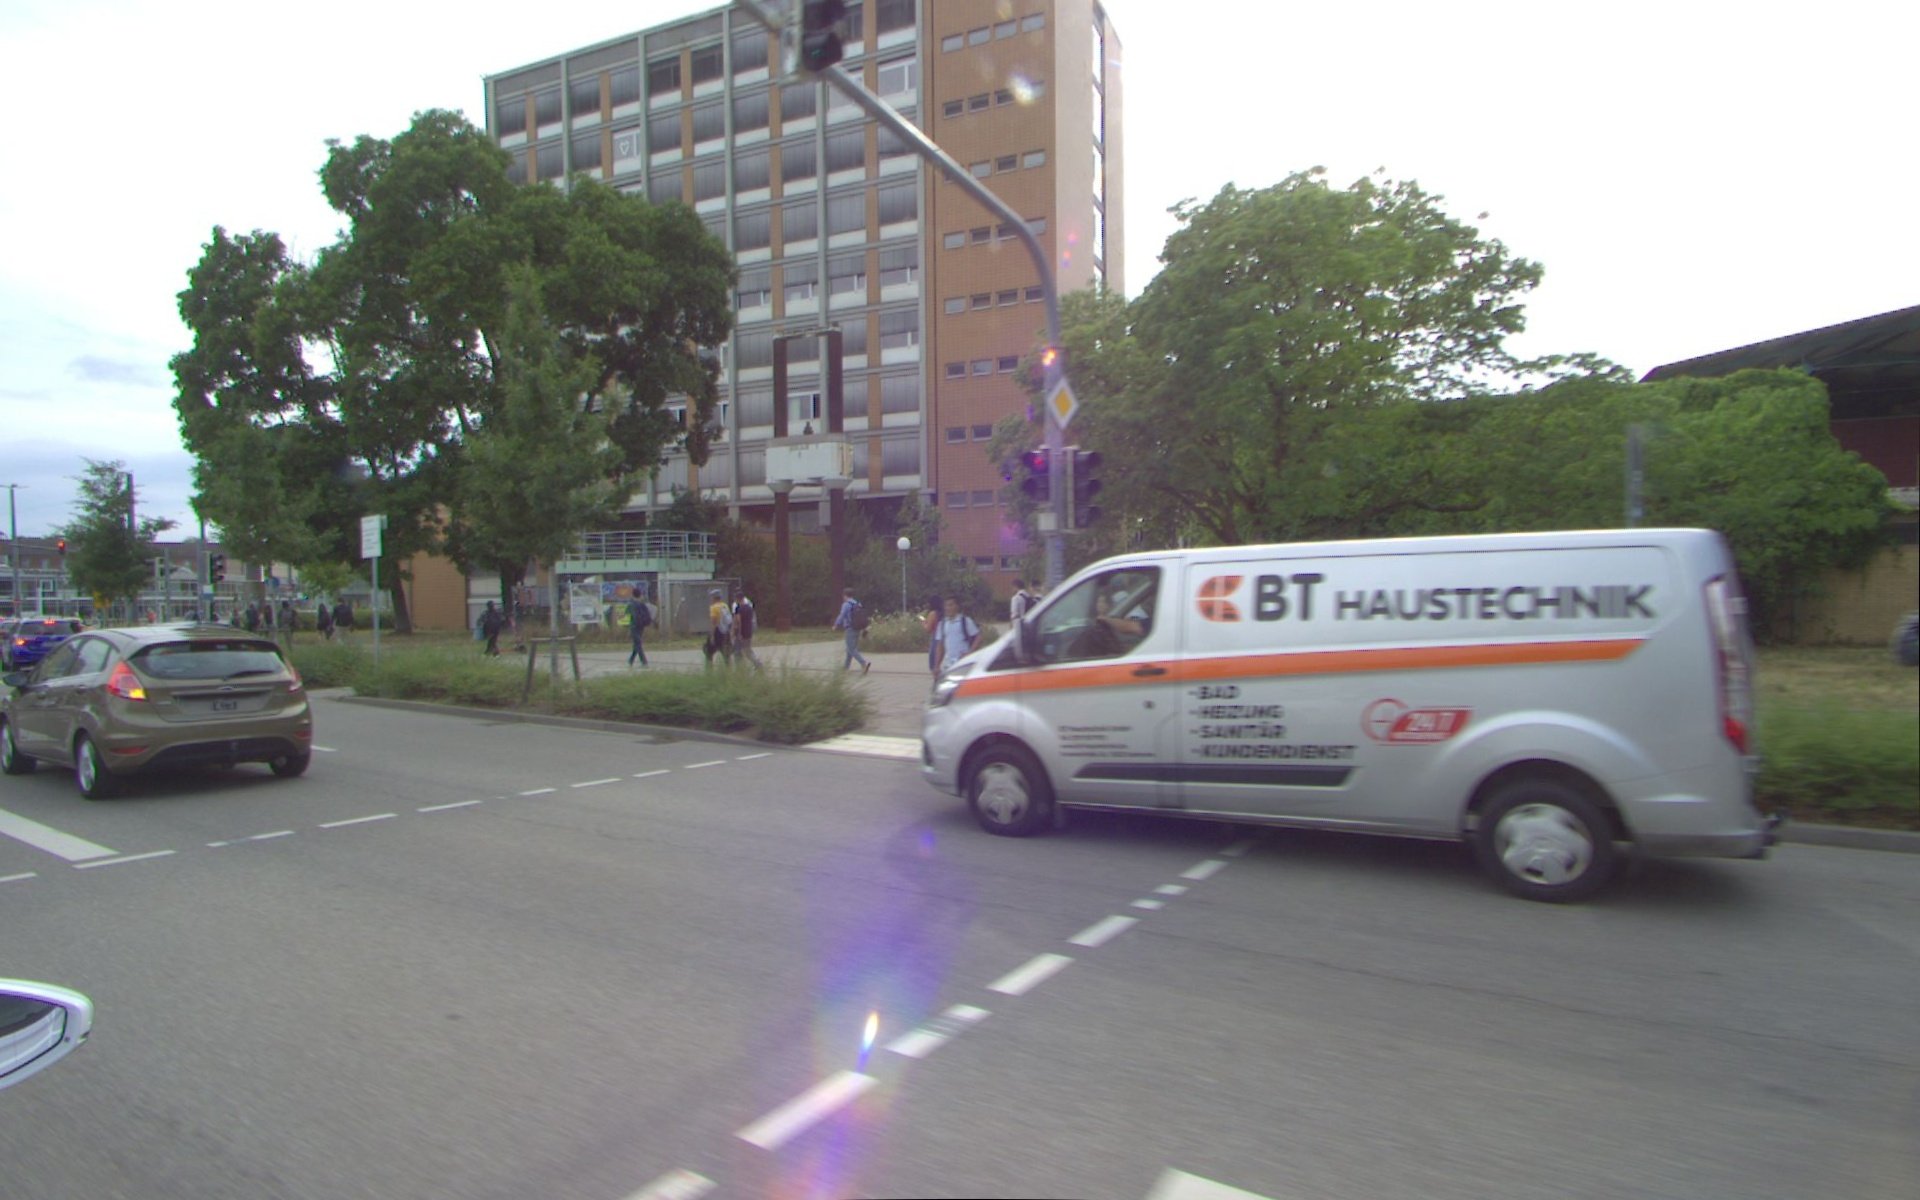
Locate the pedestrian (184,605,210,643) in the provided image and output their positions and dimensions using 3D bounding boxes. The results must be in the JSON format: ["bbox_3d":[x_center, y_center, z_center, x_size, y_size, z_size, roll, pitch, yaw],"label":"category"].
[{"bbox_3d":[-32.598,1.022,42.776,0.770,1.595,0.806,-3,2,-35],"label":"pedestrian"}]

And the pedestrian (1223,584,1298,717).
[{"bbox_3d":[4.081,0.675,13.574,0.788,1.733,0.835,-1,-1,32],"label":"pedestrian"}]

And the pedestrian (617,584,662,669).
[{"bbox_3d":[-7.192,0.591,22.472,0.698,1.877,0.636,-1,1,32],"label":"pedestrian"}]

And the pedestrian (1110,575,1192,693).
[{"bbox_3d":[2.938,0.518,15.381,0.998,1.733,0.835,-1,-1,32],"label":"pedestrian"}]

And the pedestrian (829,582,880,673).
[{"bbox_3d":[-2.077,0.527,19.703,0.698,1.734,0.636,-1,2,32],"label":"pedestrian"}]

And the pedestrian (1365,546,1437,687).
[{"bbox_3d":[5.959,0.234,13.517,0.788,1.831,0.835,-1,-1,32],"label":"pedestrian"}]

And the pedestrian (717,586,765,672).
[{"bbox_3d":[-4.512,0.583,20.634,0.698,1.733,0.637,-1,0,32],"label":"pedestrian"}]

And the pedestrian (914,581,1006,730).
[{"bbox_3d":[-0.001,0.661,12.223,0.828,1.733,0.795,-1,-1,34],"label":"pedestrian"}]

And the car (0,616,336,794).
[{"bbox_3d":[-7.854,0.902,9.775,3.650,1.422,1.691,-1,-2,35],"label":"car"}]

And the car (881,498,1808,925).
[{"bbox_3d":[2.107,0.585,6.692,5.125,1.984,1.818,-1,-2,29],"label":"car"}]

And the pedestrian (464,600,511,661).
[{"bbox_3d":[-12.661,0.811,26.844,0.800,1.595,0.776,-1,2,32],"label":"pedestrian"}]

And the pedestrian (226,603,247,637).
[{"bbox_3d":[-35.254,0.974,48.785,0.770,1.595,0.806,-3,2,-35],"label":"pedestrian"}]

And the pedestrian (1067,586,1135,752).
[{"bbox_3d":[1.531,0.736,10.868,0.580,1.733,0.478,-1,-1,34],"label":"pedestrian"}]

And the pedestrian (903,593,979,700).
[{"bbox_3d":[-0.288,0.695,15.401,0.788,1.564,0.835,-1,3,32],"label":"pedestrian"}]

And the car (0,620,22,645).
[{"bbox_3d":[-56.896,1.937,59.408,1.698,1.438,3.965,1,-2,-41],"label":"car"}]

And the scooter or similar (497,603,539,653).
[{"bbox_3d":[-12.472,0.793,28.262,1.127,1.388,0.398,-1,-1,19],"label":"scooter or similar"}]

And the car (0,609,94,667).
[{"bbox_3d":[-26.237,1.080,28.725,1.846,1.552,3.963,1,-2,-44],"label":"car"}]

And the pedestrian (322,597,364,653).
[{"bbox_3d":[-19.679,0.804,31.947,1.013,1.733,0.776,-1,-1,32],"label":"pedestrian"}]

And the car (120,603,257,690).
[{"bbox_3d":[-15.027,0.875,19.446,3.598,1.527,1.656,-2,-2,45],"label":"car"}]

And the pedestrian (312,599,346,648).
[{"bbox_3d":[-22.838,0.861,36.253,0.800,1.733,0.777,-1,-1,32],"label":"pedestrian"}]

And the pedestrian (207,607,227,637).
[{"bbox_3d":[-40.070,1.169,53.997,0.770,1.595,0.806,-3,2,-35],"label":"pedestrian"}]

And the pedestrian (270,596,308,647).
[{"bbox_3d":[-23.438,0.752,34.976,1.013,1.733,0.776,-1,-1,32],"label":"pedestrian"}]

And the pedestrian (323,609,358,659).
[{"bbox_3d":[-21.619,1.181,34.942,0.800,1.733,0.777,-1,-1,32],"label":"pedestrian"}]

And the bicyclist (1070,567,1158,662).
[{"bbox_3d":[2.199,0.222,14.247,0.998,1.293,0.835,-1,-1,32],"label":"bicyclist"}]

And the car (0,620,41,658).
[{"bbox_3d":[-37.380,1.513,39.073,2.117,1.438,3.668,1,-2,-41],"label":"car"}]

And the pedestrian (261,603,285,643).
[{"bbox_3d":[-28.071,0.925,40.912,0.770,1.595,0.806,-3,2,-35],"label":"pedestrian"}]

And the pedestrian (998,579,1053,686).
[{"bbox_3d":[1.092,0.538,16.621,0.698,1.733,0.637,-1,-1,32],"label":"pedestrian"}]

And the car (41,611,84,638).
[{"bbox_3d":[-48.978,1.344,54.679,1.691,1.438,3.668,1,-2,-41],"label":"car"}]

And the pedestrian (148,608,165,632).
[{"bbox_3d":[-54.855,1.361,68.369,0.770,1.595,0.806,-3,2,-35],"label":"pedestrian"}]

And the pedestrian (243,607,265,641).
[{"bbox_3d":[-33.559,1.129,47.584,0.770,1.595,0.806,-3,2,-35],"label":"pedestrian"}]

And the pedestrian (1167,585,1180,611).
[{"bbox_3d":[14.292,-0.108,67.004,0.632,1.733,0.703,-1,0,37],"label":"pedestrian"}]

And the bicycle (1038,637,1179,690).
[{"bbox_3d":[2.110,0.887,14.270,1.818,0.703,0.839,-1,-2,32],"label":"bicycle"}]

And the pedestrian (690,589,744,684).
[{"bbox_3d":[-4.564,0.671,18.837,0.698,1.734,0.636,-1,1,32],"label":"pedestrian"}]

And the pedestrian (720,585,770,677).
[{"bbox_3d":[-4.166,0.606,19.412,0.698,1.733,0.637,-1,-1,32],"label":"pedestrian"}]

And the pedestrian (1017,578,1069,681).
[{"bbox_3d":[1.438,0.518,17.288,0.698,1.733,0.637,-1,-1,32],"label":"pedestrian"}]

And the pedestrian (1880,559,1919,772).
[{"bbox_3d":[8.205,0.539,8.311,0.683,1.733,0.731,-1,-1,32],"label":"pedestrian"}]
